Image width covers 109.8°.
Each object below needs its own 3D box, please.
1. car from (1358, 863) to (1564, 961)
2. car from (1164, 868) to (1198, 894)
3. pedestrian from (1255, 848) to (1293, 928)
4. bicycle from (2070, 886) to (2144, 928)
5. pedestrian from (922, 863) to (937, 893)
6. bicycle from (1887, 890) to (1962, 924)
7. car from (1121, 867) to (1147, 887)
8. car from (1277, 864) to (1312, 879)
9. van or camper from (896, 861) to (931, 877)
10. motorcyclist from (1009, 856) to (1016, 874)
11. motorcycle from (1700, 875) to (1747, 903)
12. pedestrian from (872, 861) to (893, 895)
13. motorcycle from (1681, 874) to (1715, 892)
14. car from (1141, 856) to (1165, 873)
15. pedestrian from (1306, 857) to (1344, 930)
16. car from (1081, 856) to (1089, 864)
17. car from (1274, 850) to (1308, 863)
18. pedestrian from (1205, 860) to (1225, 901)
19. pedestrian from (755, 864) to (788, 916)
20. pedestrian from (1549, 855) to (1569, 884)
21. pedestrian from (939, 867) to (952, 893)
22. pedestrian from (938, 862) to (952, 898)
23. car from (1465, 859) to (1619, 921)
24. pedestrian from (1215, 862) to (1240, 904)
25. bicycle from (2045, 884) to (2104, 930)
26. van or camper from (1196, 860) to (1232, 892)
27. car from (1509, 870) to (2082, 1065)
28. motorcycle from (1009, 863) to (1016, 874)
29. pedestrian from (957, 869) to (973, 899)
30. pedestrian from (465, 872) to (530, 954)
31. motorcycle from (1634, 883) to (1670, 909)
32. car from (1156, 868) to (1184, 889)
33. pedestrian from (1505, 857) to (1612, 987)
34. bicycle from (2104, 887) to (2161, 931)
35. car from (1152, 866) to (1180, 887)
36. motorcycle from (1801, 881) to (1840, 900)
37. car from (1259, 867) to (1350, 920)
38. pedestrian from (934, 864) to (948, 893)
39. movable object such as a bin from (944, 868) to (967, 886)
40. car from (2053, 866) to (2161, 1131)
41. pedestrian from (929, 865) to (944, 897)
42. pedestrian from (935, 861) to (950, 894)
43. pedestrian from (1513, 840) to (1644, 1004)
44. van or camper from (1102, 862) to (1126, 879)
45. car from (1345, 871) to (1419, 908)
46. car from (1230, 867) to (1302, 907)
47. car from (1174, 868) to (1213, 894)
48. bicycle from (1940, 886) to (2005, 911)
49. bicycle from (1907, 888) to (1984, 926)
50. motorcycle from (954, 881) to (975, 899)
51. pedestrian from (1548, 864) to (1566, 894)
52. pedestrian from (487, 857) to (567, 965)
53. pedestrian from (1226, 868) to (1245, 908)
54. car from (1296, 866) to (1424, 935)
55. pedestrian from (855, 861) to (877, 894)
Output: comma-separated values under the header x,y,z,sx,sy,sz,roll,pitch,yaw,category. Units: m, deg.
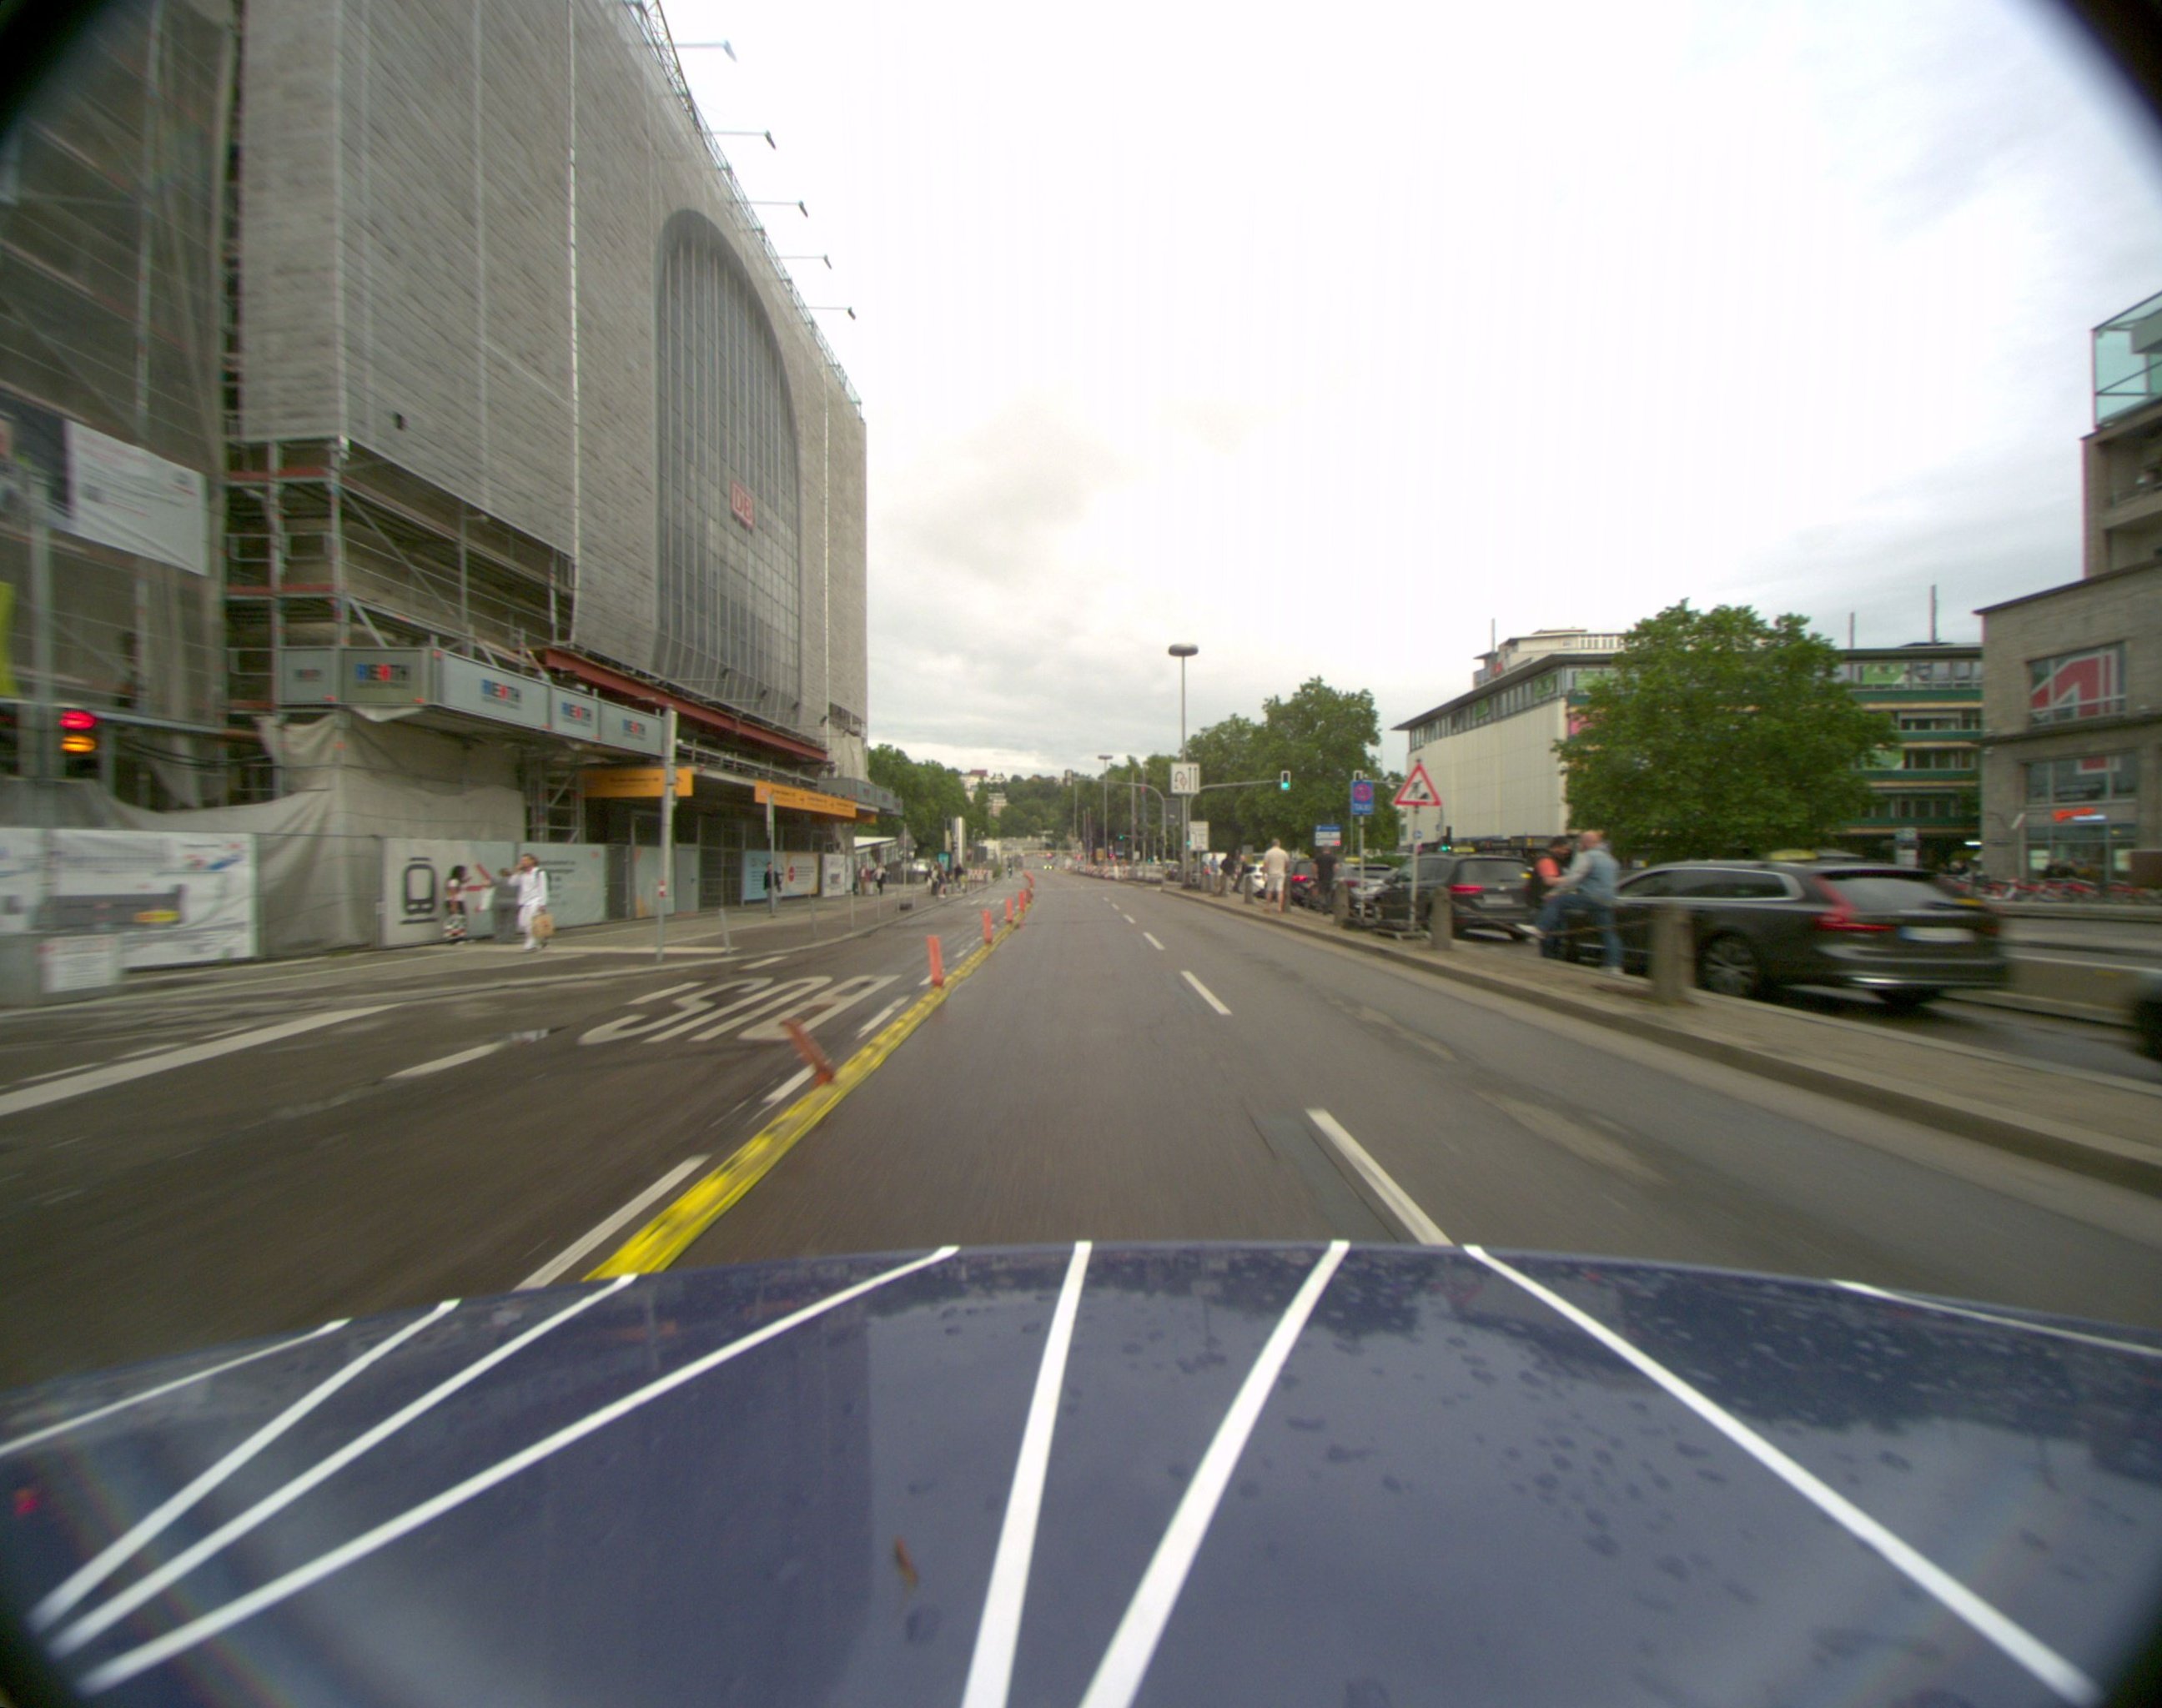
x,y,z,sx,sy,sz,roll,pitch,yaw,category
7.546,1.049,15.722,1.934,1.680,4.683,1,-1,1,car
7.710,2.077,58.906,1.908,1.886,4.523,-2,-2,-1,car
4.898,0.860,19.335,0.724,1.995,0.773,-1,-1,1,pedestrian
32.955,1.696,24.409,1.672,1.317,0.679,0,-1,-8,bicycle
-8.594,1.357,43.104,0.565,1.641,0.615,2,-1,6,pedestrian
29.241,1.833,26.346,2.094,1.070,0.596,-1,-1,-6,bicycle
4.938,2.165,71.509,1.999,1.806,4.811,0,-2,-1,car
26.736,2.213,95.202,3.735,1.533,1.856,-4,0,38,car
-26.217,2.430,118.963,6.046,2.387,2.392,-2,-3,44,van or camper
-7.914,1.305,87.914,0.726,2.023,0.587,1,-2,-6,motorcyclist
25.366,1.357,29.992,1.443,1.051,0.602,-1,-1,-9,motorcycle
-10.032,1.230,38.379,0.738,1.667,0.957,3,-1,0,pedestrian
35.754,1.678,44.053,0.532,1.040,1.717,0,-1,-2,motorcycle
7.433,1.091,78.967,1.895,1.692,4.422,-1,-2,-3,car
5.953,0.966,18.583,0.700,1.744,0.711,0,-1,1,pedestrian
0.838,1.352,162.094,1.682,1.533,3.175,1,-2,1,car
33.672,0.426,121.794,4.829,2.001,2.037,-1,-2,3,car
5.889,1.157,33.405,0.558,1.764,0.754,2,-1,35,pedestrian
-9.995,1.141,24.542,0.550,1.622,0.996,3,-1,1,pedestrian
25.806,0.832,41.030,0.476,1.562,0.751,3,-1,-17,pedestrian
-7.637,1.471,42.817,0.559,1.440,0.711,3,-1,2,pedestrian
-6.850,1.289,38.234,0.560,1.748,0.751,3,-1,-12,pedestrian
13.995,1.038,23.454,1.934,1.680,4.683,1,-1,1,car
6.180,1.222,32.104,0.784,1.764,0.606,3,-1,-11,pedestrian
32.847,1.737,25.115,1.489,1.426,0.514,-1,-1,-10,bicycle
11.252,1.863,64.491,1.999,2.499,5.371,3,-1,0,van or camper
7.554,1.018,9.094,1.934,1.567,5.262,1,-1,1,car
-7.912,1.709,87.776,0.730,1.221,2.160,1,-2,-5,motorcycle
-6.720,1.728,43.914,0.583,1.730,0.820,0,-1,-42,pedestrian
-11.224,1.117,14.628,0.653,1.530,0.665,3,-1,2,pedestrian
26.924,1.967,35.859,0.582,1.165,1.625,-2,-1,7,motorcycle
7.546,2.125,65.073,1.788,1.711,4.483,0,-2,-1,car
6.201,0.859,9.928,0.724,1.597,0.996,-2,-1,1,pedestrian
33.027,1.706,23.631,1.734,1.317,0.679,0,-1,-8,bicycle
7.955,2.125,71.672,1.920,1.840,4.566,1,-1,-2,car
42.278,2.064,43.467,0.532,1.040,1.717,0,-1,-2,motorcycle
7.912,1.338,27.410,1.934,1.680,4.683,1,-1,1,car
-8.206,1.447,44.564,0.559,1.641,0.615,3,-1,2,pedestrian
-10.711,1.984,64.859,1.299,1.483,1.537,0,-1,30,movable object such as a bin
7.370,0.852,2.498,1.934,1.567,5.013,1,-1,0,car
-7.524,1.382,39.640,0.559,1.631,0.752,3,-1,2,pedestrian
-7.465,1.247,40.854,0.559,1.741,0.711,3,-1,2,pedestrian
5.542,0.739,8.507,1.053,1.758,0.616,0,0,1,pedestrian
3.849,1.966,89.977,1.951,1.808,5.390,2,-1,-6,van or camper
15.129,1.758,38.494,1.934,1.680,4.683,1,-1,1,car
7.927,1.396,33.024,2.020,1.611,4.843,0,-1,1,car
7.771,1.834,52.717,1.908,1.689,4.500,-2,-2,-1,car
32.929,1.637,28.072,0.680,0.845,1.381,-1,-1,-11,bicycle
29.307,1.789,25.763,2.094,1.173,0.596,-1,-1,-6,bicycle
-6.729,2.083,43.921,0.587,1.015,1.236,0,-1,-42,motorcycle
25.975,1.364,41.448,0.530,1.632,0.609,3,-1,-19,pedestrian
-9.888,0.999,13.588,0.724,1.836,0.810,3,-1,1,pedestrian
6.729,1.476,33.202,0.653,1.701,0.593,-2,-1,0,pedestrian
7.734,1.213,21.587,1.934,1.680,4.683,1,-1,1,car
-10.842,1.182,38.333,0.734,1.672,1.110,0,-1,3,pedestrian
